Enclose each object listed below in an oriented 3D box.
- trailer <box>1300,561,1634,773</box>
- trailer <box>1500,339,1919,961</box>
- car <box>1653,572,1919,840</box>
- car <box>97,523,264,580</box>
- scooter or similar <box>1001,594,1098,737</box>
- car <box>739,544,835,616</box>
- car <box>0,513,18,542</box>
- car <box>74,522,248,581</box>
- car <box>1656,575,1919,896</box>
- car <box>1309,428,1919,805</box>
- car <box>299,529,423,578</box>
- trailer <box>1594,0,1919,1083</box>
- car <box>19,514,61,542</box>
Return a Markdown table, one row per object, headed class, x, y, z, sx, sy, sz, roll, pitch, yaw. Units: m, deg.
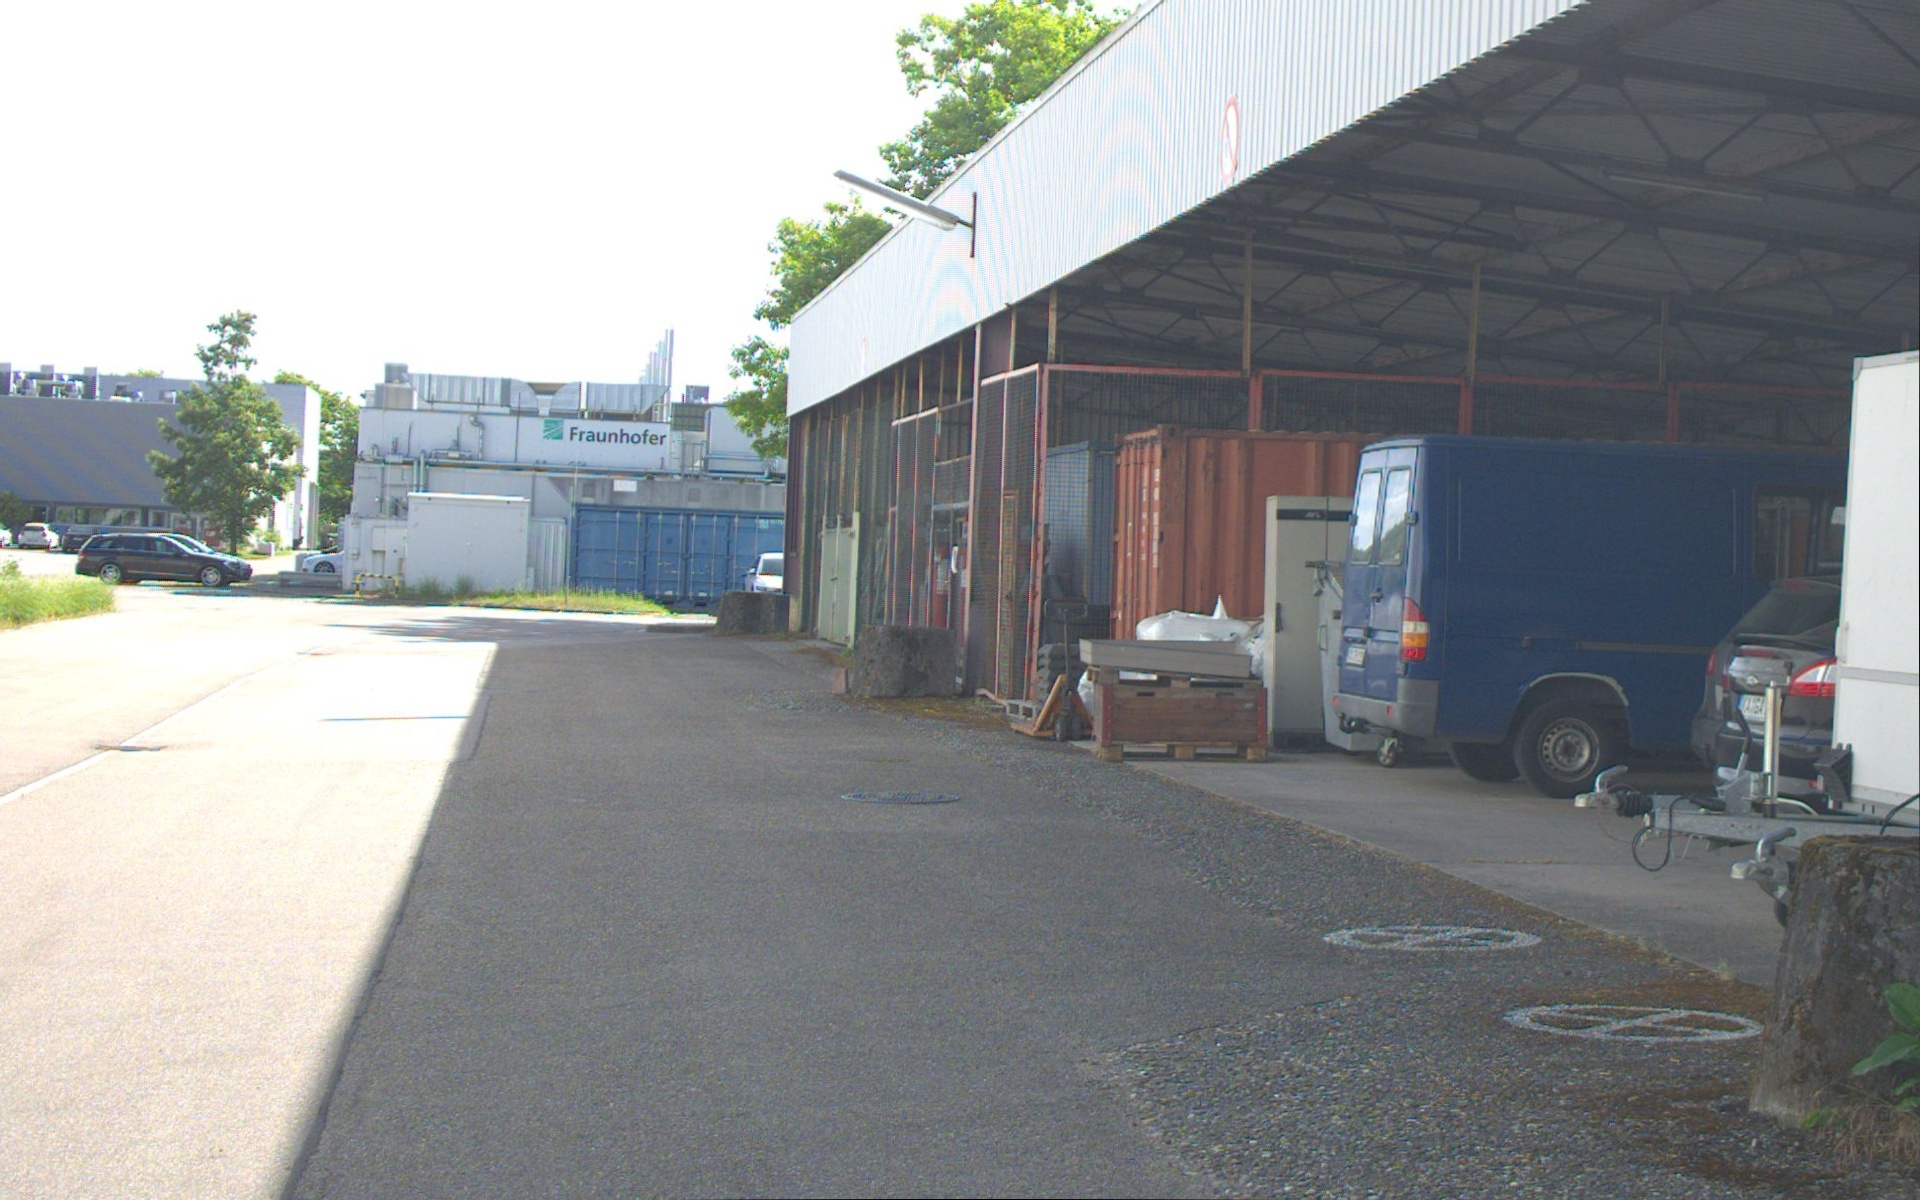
| class | x | y | z | sx | sy | sz | roll | pitch | yaw |
| --- | --- | --- | --- | --- | --- | --- | --- | --- | --- |
| trailer | 3.707 | 0.478 | 25.384 | 2.094 | 1.457 | 1.642 | 2 | 0 | -4 |
| trailer | 4.654 | 0.202 | 13.949 | 4.541 | 2.327 | 1.689 | 1 | 1 | -6 |
| car | 6.299 | 0.591 | 19.855 | 4.106 | 1.449 | 1.851 | 1 | 0 | -7 |
| car | -22.721 | -1.409 | 100.389 | 4.528 | 1.438 | 1.904 | 2 | -1 | -7 |
| scooter or similar | 0.722 | 0.522 | 28.221 | 0.520 | 1.131 | 1.593 | 2 | 0 | -8 |
| car | -4.391 | -0.517 | 86.676 | 1.980 | 1.588 | 4.342 | 3 | 2 | -8 |
| car | -53.463 | -4.026 | 190.855 | 1.877 | 1.532 | 4.037 | 1 | 1 | -10 |
| car | -22.543 | -1.362 | 97.128 | 4.528 | 1.438 | 1.988 | 2 | -1 | -7 |
| car | 5.807 | 0.626 | 16.713 | 4.342 | 1.428 | 1.865 | 1 | 1 | -10 |
| car | 5.157 | 0.130 | 22.933 | 5.215 | 2.289 | 2.084 | 2 | 0 | -8 |
| car | -21.795 | -1.698 | 125.181 | 4.278 | 1.564 | 1.988 | 2 | -1 | -7 |
| trailer | 7.598 | -0.213 | 11.759 | 10.291 | 3.284 | 2.676 | 1 | 1 | -6 |
| car | -51.180 | -3.999 | 191.360 | 1.877 | 1.532 | 4.037 | 1 | 1 | -10 |
